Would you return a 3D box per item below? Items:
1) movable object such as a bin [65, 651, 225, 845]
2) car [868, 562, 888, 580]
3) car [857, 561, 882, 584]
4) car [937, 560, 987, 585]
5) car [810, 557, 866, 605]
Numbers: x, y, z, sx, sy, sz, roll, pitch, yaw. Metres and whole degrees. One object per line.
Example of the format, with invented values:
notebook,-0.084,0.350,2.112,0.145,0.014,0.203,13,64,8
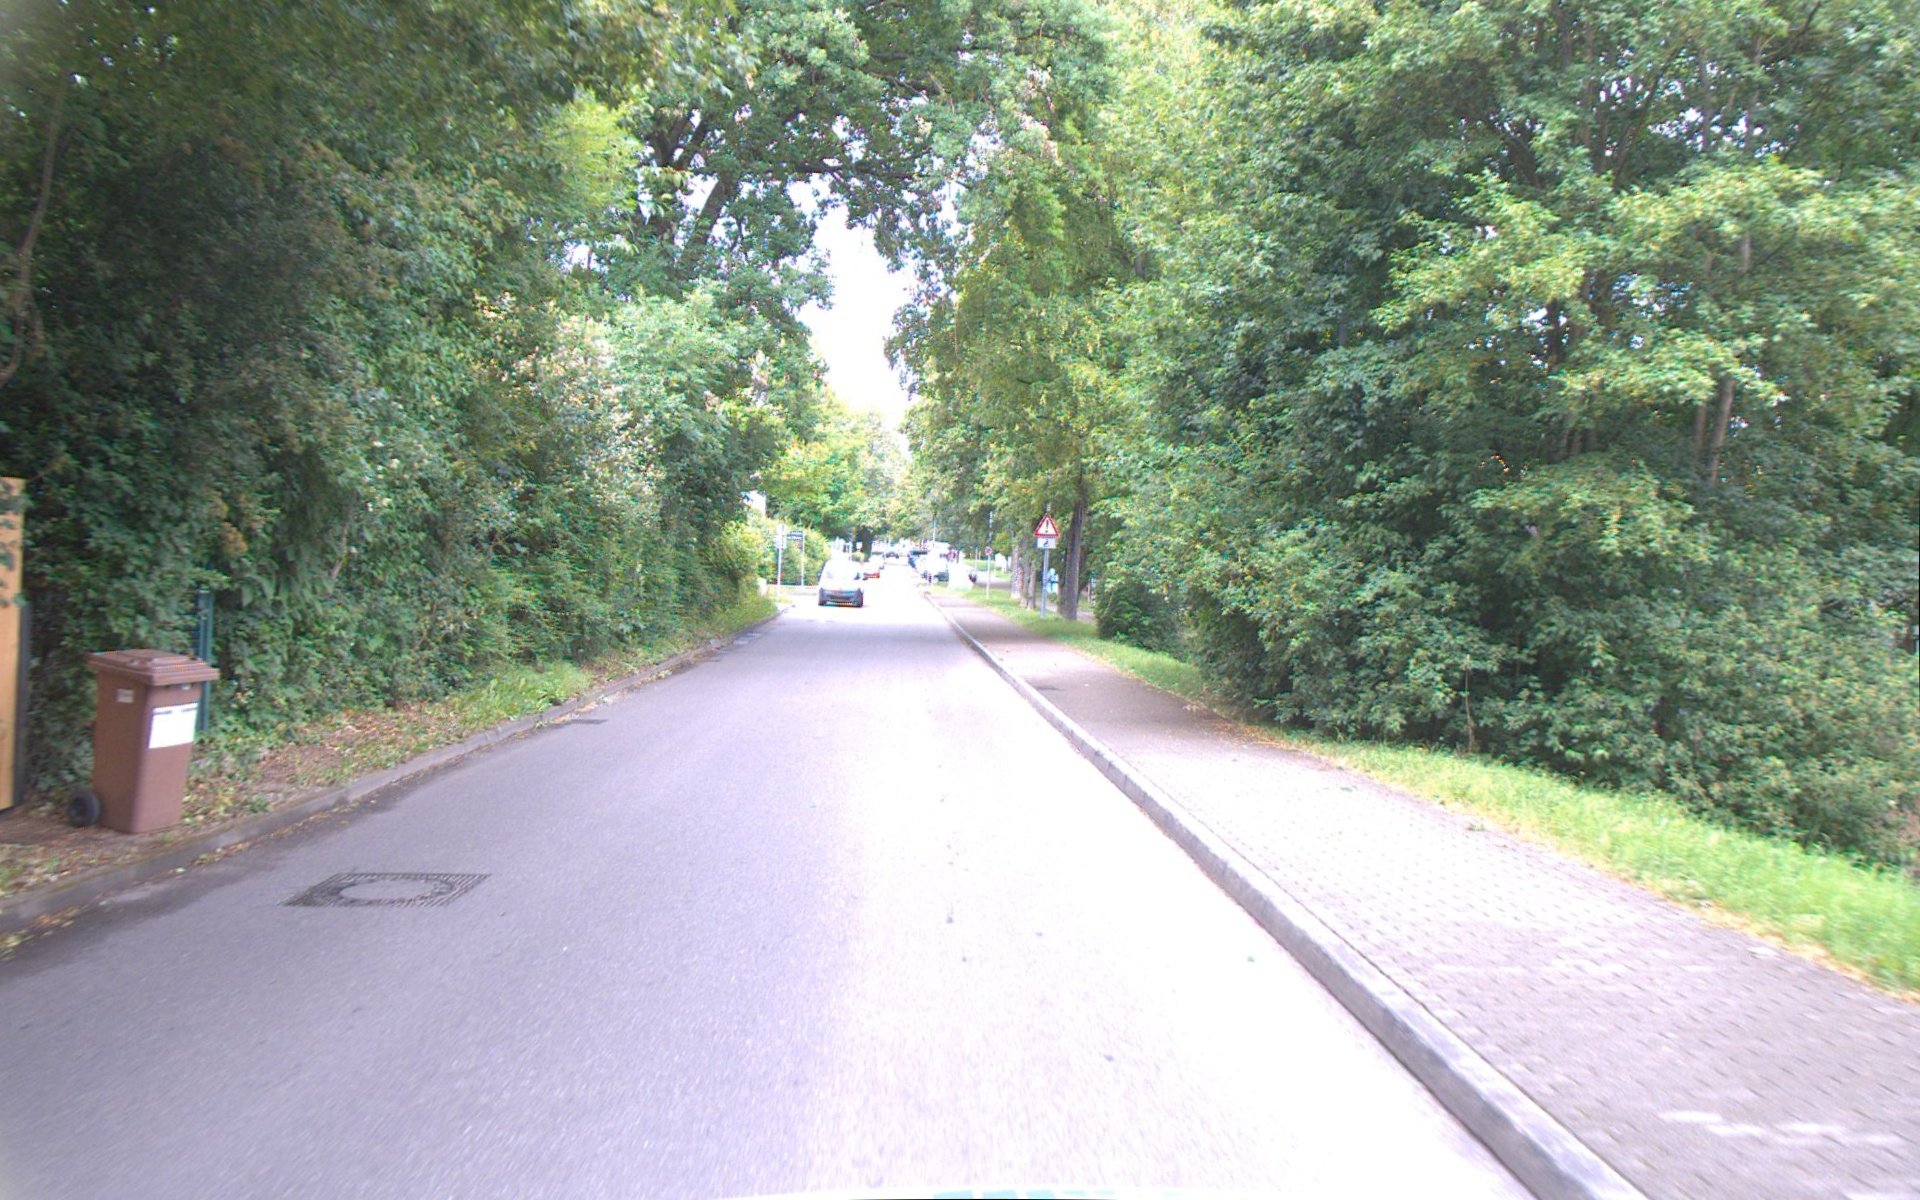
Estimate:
movable object such as a bin,-4.328,0.773,8.809,0.578,0.974,0.470,2,-1,-1
car,-9.052,-3.207,182.501,1.953,1.803,3.999,2,-1,-1
car,-7.750,-2.374,142.391,1.953,1.803,3.999,2,-1,-1
car,0.171,-2.191,131.462,3.906,1.803,1.999,2,-1,-1
car,-4.884,-0.737,66.731,1.953,1.803,3.999,2,-1,-1
